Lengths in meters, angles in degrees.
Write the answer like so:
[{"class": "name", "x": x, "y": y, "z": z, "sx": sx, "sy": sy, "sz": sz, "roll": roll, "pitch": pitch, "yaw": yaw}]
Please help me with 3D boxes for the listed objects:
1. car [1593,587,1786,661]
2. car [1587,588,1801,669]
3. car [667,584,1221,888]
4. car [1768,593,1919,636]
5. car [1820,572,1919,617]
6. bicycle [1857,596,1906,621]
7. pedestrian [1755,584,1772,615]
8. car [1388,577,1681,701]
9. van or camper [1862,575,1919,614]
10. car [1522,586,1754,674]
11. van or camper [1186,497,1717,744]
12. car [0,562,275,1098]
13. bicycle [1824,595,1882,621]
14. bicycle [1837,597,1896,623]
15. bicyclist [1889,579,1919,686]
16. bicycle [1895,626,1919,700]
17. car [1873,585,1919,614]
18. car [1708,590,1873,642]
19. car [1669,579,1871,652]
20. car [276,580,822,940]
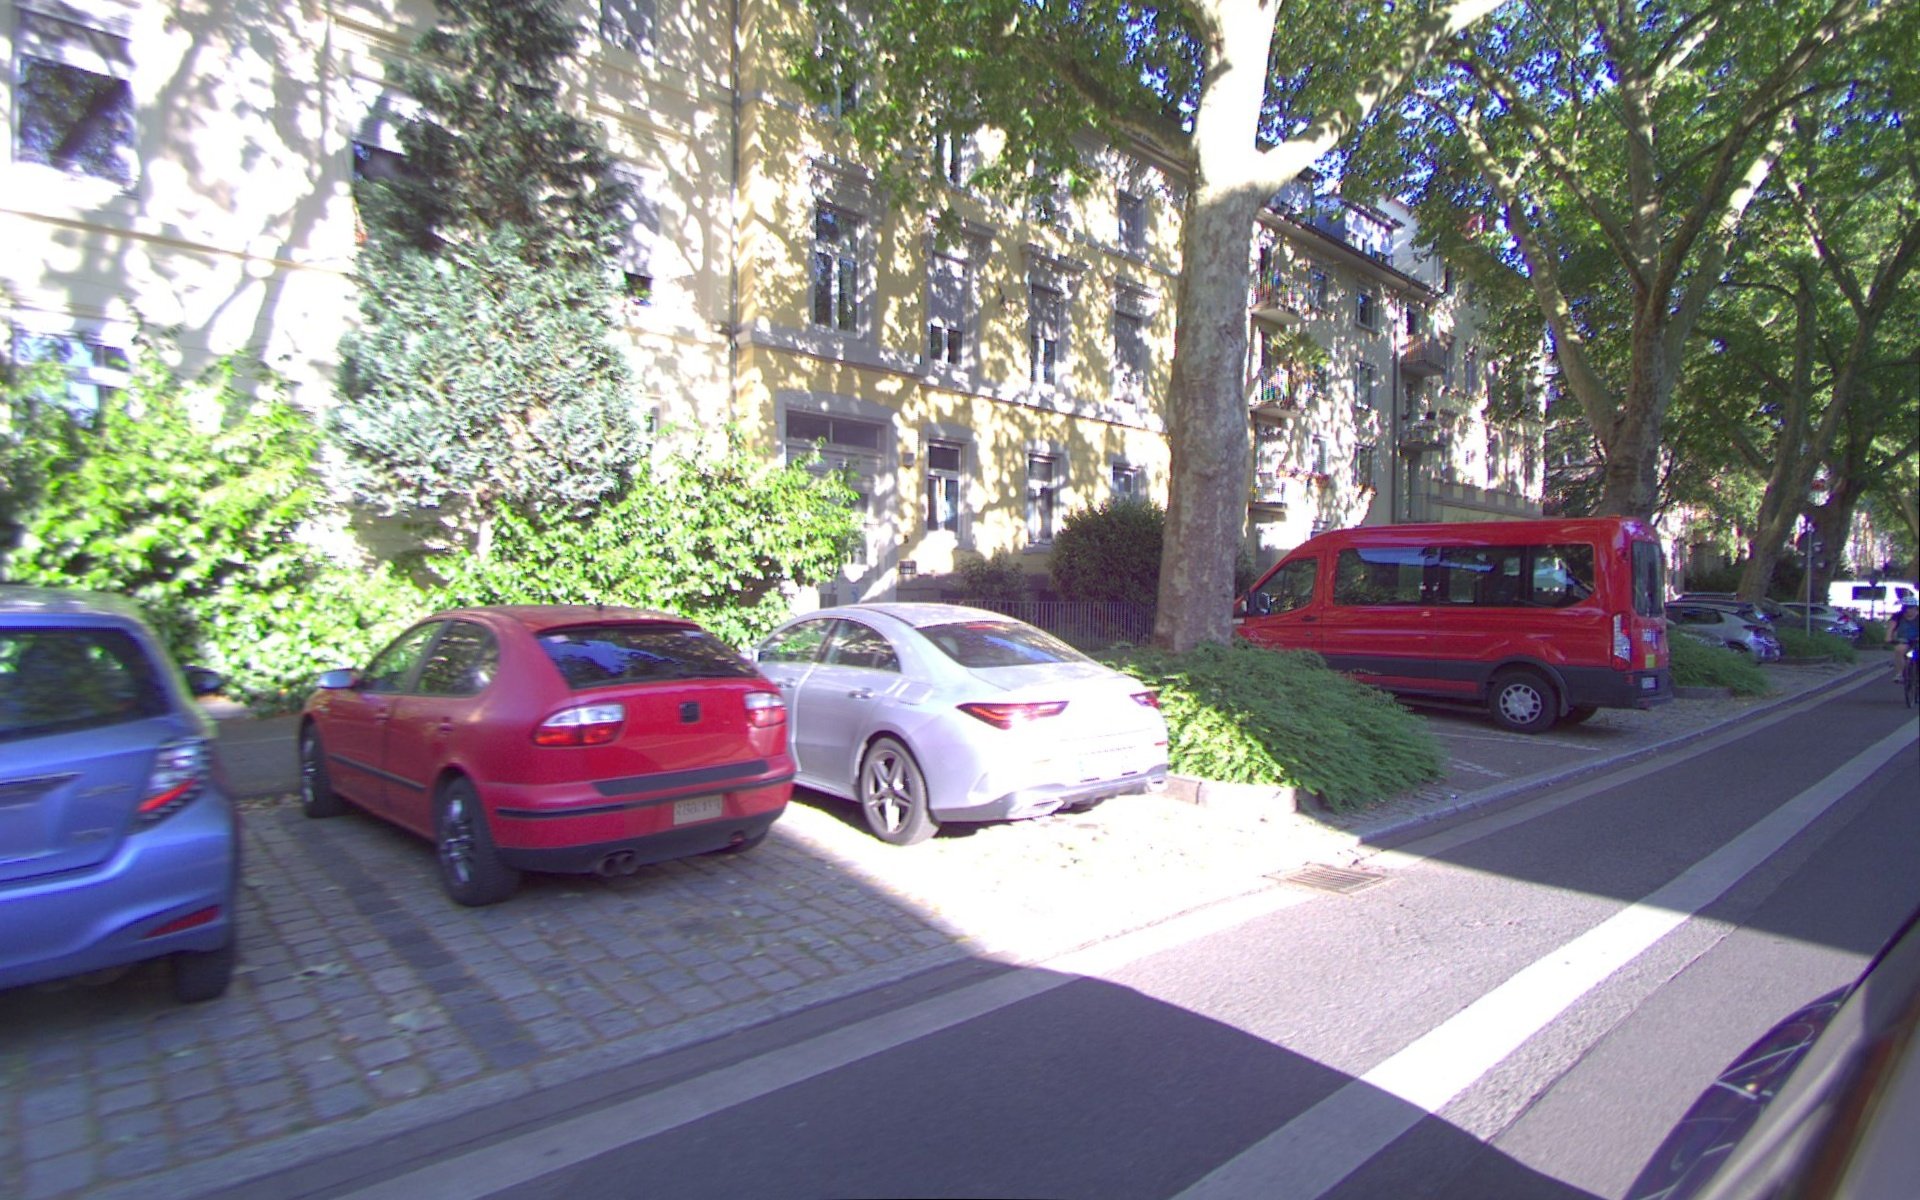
[{"class": "car", "x": 17.857, "y": 0.519, "z": 24.887, "sx": 1.514, "sy": 1.619, "sz": 3.601, "roll": -1, "pitch": 2, "yaw": -41}, {"class": "car", "x": 16.420, "y": 0.562, "z": 22.761, "sx": 1.664, "sy": 1.536, "sz": 3.602, "roll": 0, "pitch": 2, "yaw": -42}, {"class": "car", "x": -0.419, "y": 0.678, "z": 7.411, "sx": 1.729, "sy": 1.434, "sz": 4.296, "roll": 0, "pitch": 2, "yaw": -40}, {"class": "car", "x": 33.938, "y": 0.528, "z": 38.956, "sx": 1.795, "sy": 1.510, "sz": 4.111, "roll": 0, "pitch": 1, "yaw": -33}, {"class": "car", "x": 49.524, "y": -0.277, "z": 53.451, "sx": 1.970, "sy": 2.311, "sz": 6.003, "roll": 1, "pitch": 1, "yaw": -40}, {"class": "bicycle", "x": 45.459, "y": 0.413, "z": 49.975, "sx": 0.405, "sy": 1.193, "sz": 2.051, "roll": -1, "pitch": 1, "yaw": -5}, {"class": "pedestrian", "x": 44.977, "y": -0.037, "z": 56.644, "sx": 0.587, "sy": 1.672, "sz": 0.703, "roll": 0, "pitch": 1, "yaw": 22}, {"class": "car", "x": 9.305, "y": 0.518, "z": 16.585, "sx": 1.739, "sy": 1.669, "sz": 3.822, "roll": -2, "pitch": 4, "yaw": -44}, {"class": "van or camper", "x": 62.848, "y": -0.372, "z": 65.827, "sx": 2.072, "sy": 2.522, "sz": 6.041, "roll": 0, "pitch": 1, "yaw": -42}, {"class": "car", "x": 13.970, "y": 0.566, "z": 21.004, "sx": 1.664, "sy": 1.542, "sz": 3.677, "roll": 2, "pitch": 1, "yaw": -42}, {"class": "van or camper", "x": 6.121, "y": 0.081, "z": 13.337, "sx": 2.249, "sy": 2.550, "sz": 5.822, "roll": 1, "pitch": 2, "yaw": -43}, {"class": "car", "x": -4.119, "y": 0.616, "z": 4.221, "sx": 1.652, "sy": 1.527, "sz": 3.758, "roll": 0, "pitch": 2, "yaw": -41}, {"class": "bicycle", "x": 42.844, "y": 0.375, "z": 48.567, "sx": 0.405, "sy": 1.193, "sz": 2.049, "roll": -1, "pitch": 1, "yaw": -33}, {"class": "bicycle", "x": 42.787, "y": 0.464, "z": 47.799, "sx": 0.405, "sy": 1.193, "sz": 2.049, "roll": -1, "pitch": 1, "yaw": -33}, {"class": "bicyclist", "x": 14.506, "y": 0.478, "z": 15.207, "sx": 0.919, "sy": 1.573, "sz": 0.614, "roll": 0, "pitch": -4, "yaw": -42}, {"class": "bicycle", "x": 14.722, "y": 0.922, "z": 15.313, "sx": 2.468, "sy": 1.017, "sz": 0.596, "roll": 0, "pitch": -2, "yaw": -42}, {"class": "car", "x": 58.309, "y": -0.027, "z": 61.644, "sx": 1.767, "sy": 1.676, "sz": 3.957, "roll": -1, "pitch": 2, "yaw": -44}, {"class": "car", "x": 26.887, "y": 0.478, "z": 32.842, "sx": 4.027, "sy": 1.498, "sz": 1.655, "roll": 2, "pitch": 2, "yaw": 43}, {"class": "car", "x": 23.127, "y": 0.370, "z": 29.003, "sx": 1.818, "sy": 1.740, "sz": 4.267, "roll": 0, "pitch": 3, "yaw": -44}, {"class": "car", "x": -2.676, "y": 0.638, "z": 6.128, "sx": 3.751, "sy": 1.404, "sz": 1.655, "roll": 3, "pitch": 2, "yaw": 43}]
